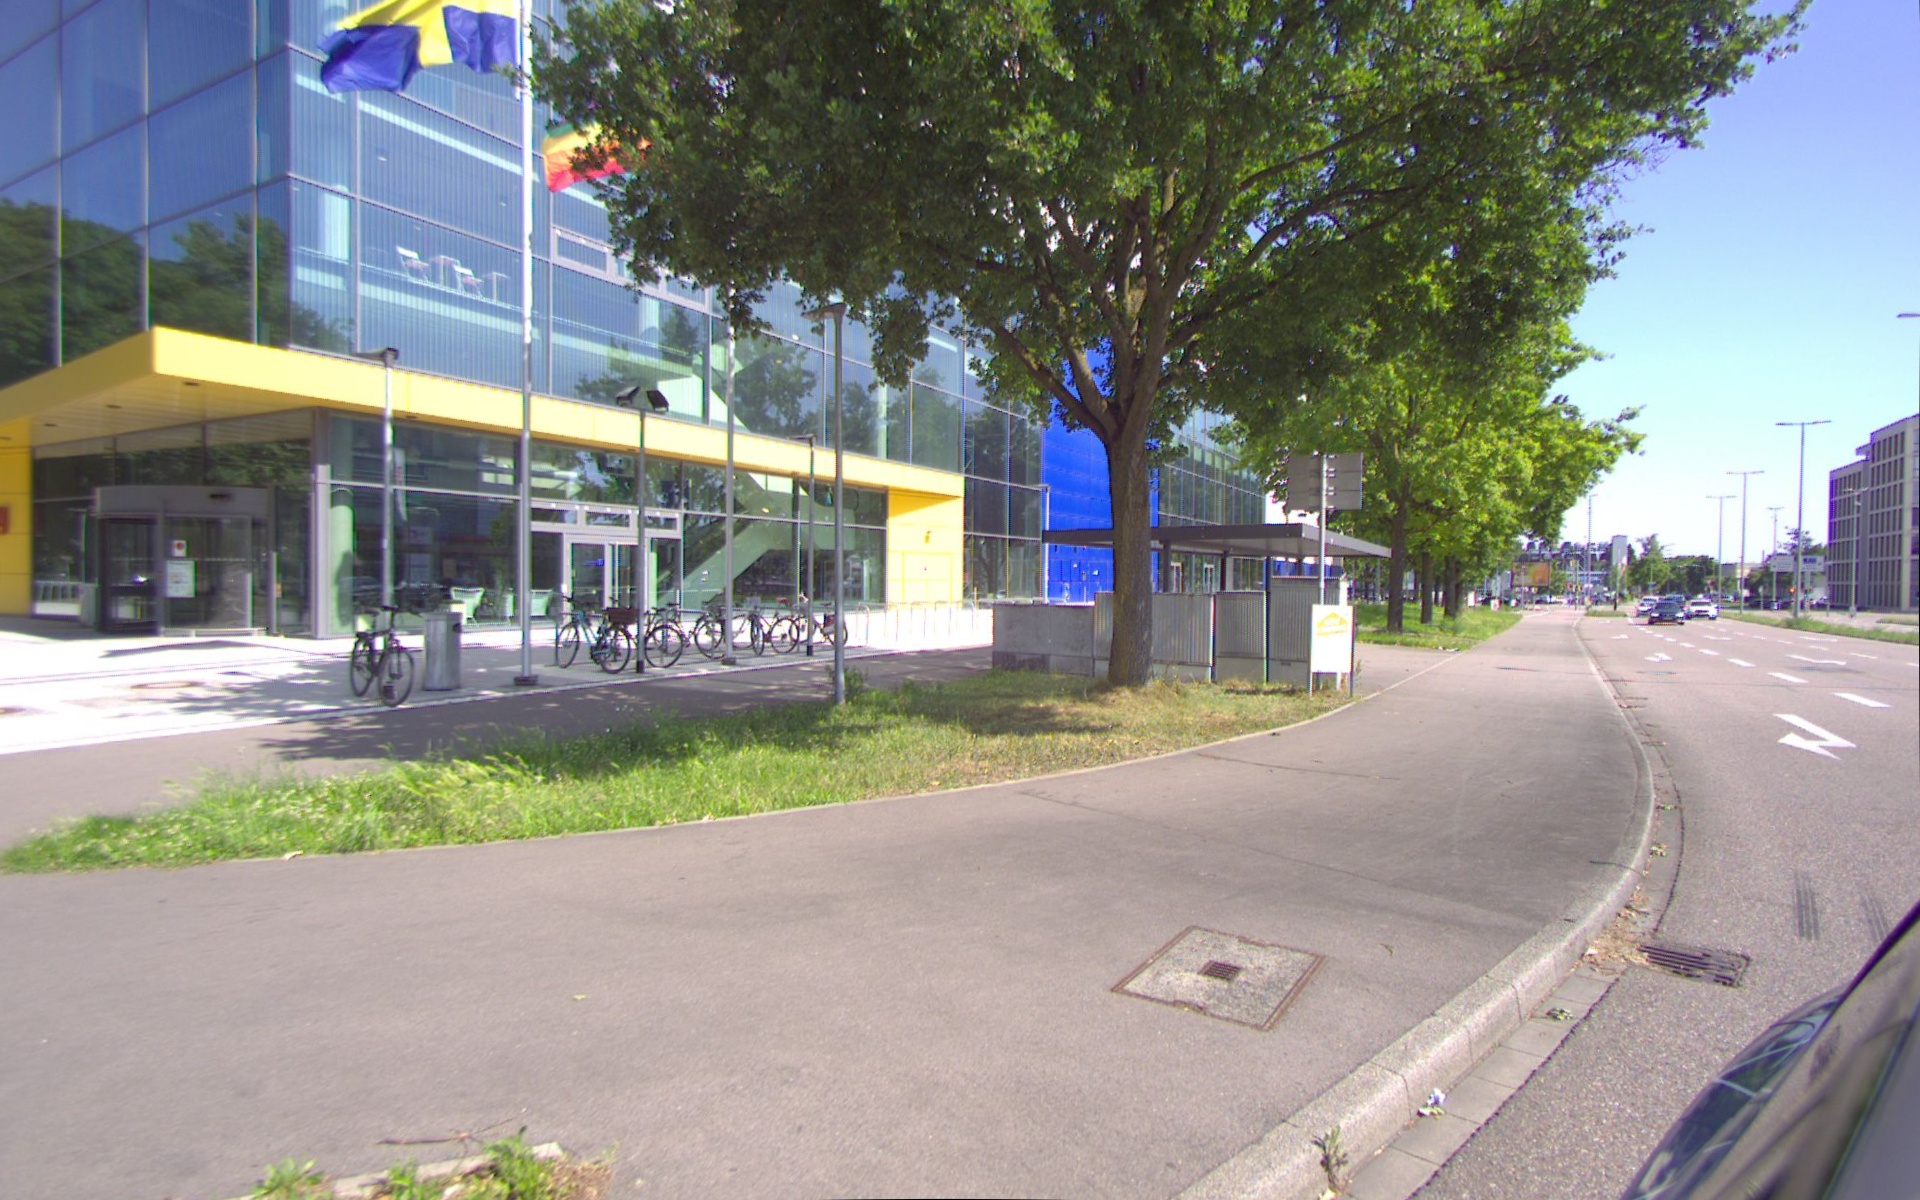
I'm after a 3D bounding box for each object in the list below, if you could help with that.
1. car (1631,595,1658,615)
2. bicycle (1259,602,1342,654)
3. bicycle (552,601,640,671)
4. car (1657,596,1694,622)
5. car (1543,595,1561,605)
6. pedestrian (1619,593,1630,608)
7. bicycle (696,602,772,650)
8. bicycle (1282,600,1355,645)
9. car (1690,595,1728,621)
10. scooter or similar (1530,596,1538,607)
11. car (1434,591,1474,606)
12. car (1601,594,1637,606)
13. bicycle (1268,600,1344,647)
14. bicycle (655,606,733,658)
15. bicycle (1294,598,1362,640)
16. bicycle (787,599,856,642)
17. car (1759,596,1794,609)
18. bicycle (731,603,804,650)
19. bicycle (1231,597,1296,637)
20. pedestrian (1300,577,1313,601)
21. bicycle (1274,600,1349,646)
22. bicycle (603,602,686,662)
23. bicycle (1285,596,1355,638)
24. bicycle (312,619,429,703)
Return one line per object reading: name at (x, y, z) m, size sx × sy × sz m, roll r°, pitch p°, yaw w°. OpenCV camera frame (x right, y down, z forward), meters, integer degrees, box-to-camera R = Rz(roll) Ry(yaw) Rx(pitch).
car at (63.063, 0.455, 93.287) m, size 1.820 × 1.733 × 3.725 m, roll 1°, pitch 2°, yaw 31°
bicycle at (7.873, 0.628, 23.452) m, size 1.751 × 1.110 × 0.447 m, roll 2°, pitch 0°, yaw 32°
bicycle at (-5.625, 0.529, 15.598) m, size 1.556 × 1.007 × 0.428 m, roll 1°, pitch 0°, yaw 34°
car at (45.563, 0.558, 64.545) m, size 1.759 × 1.483 × 4.189 m, roll 0°, pitch 1°, yaw 33°
car at (89.936, -0.031, 153.748) m, size 1.988 × 1.479 × 3.947 m, roll 1°, pitch 1°, yaw 36°
pedestrian at (79.242, 0.059, 120.730) m, size 0.941 × 1.802 × 0.707 m, roll 1°, pitch 1°, yaw -34°
bicycle at (-4.284, 0.477, 19.129) m, size 1.555 × 0.854 × 0.428 m, roll 1°, pitch 0°, yaw 33°
bicycle at (9.497, 0.587, 26.824) m, size 1.751 × 1.110 × 0.447 m, roll 2°, pitch 0°, yaw 32°
car at (59.114, 0.607, 79.919) m, size 2.011 × 1.860 × 4.264 m, roll 1°, pitch 2°, yaw 32°
scooter or similar at (63.146, 0.115, 111.348) m, size 1.164 × 1.181 × 0.402 m, roll -1°, pitch 2°, yaw -42°
car at (68.697, -0.221, 140.788) m, size 4.959 × 2.032 × 1.723 m, roll 2°, pitch 2°, yaw 31°
car at (98.917, 0.003, 151.866) m, size 4.450 × 1.607 × 1.956 m, roll 2°, pitch 1°, yaw 33°
bicycle at (8.750, 0.570, 25.597) m, size 1.751 × 1.110 × 0.447 m, roll 2°, pitch 0°, yaw 32°
bicycle at (-4.730, 0.552, 17.967) m, size 1.556 × 0.854 × 0.428 m, roll 1°, pitch 0°, yaw 34°
bicycle at (10.459, 0.514, 28.770) m, size 1.751 × 1.110 × 0.447 m, roll 2°, pitch 1°, yaw 33°
bicycle at (-2.937, 0.423, 21.457) m, size 1.556 × 0.854 × 0.428 m, roll 1°, pitch 0°, yaw 34°
car at (132.895, 0.368, 164.724) m, size 1.963 × 2.039 × 3.999 m, roll 1°, pitch 1°, yaw -37°
bicycle at (-3.807, 0.507, 19.943) m, size 1.556 × 0.854 × 0.428 m, roll 1°, pitch 0°, yaw 34°
bicycle at (8.944, 0.490, 29.834) m, size 1.751 × 1.110 × 0.447 m, roll 2°, pitch 0°, yaw 32°
pedestrian at (23.604, -0.749, 68.977) m, size 0.684 × 1.632 × 0.764 m, roll 2°, pitch 0°, yaw 28°
bicycle at (9.034, 0.577, 26.031) m, size 1.751 × 1.110 × 0.447 m, roll 2°, pitch 0°, yaw 32°
bicycle at (-5.215, 0.514, 16.697) m, size 1.556 × 0.921 × 0.428 m, roll 1°, pitch 0°, yaw 34°
bicycle at (9.948, 0.457, 27.986) m, size 1.751 × 1.110 × 0.458 m, roll 2°, pitch 0°, yaw 32°
bicycle at (-6.919, 0.685, 11.849) m, size 1.822 × 0.854 × 0.428 m, roll 1°, pitch 0°, yaw 34°
